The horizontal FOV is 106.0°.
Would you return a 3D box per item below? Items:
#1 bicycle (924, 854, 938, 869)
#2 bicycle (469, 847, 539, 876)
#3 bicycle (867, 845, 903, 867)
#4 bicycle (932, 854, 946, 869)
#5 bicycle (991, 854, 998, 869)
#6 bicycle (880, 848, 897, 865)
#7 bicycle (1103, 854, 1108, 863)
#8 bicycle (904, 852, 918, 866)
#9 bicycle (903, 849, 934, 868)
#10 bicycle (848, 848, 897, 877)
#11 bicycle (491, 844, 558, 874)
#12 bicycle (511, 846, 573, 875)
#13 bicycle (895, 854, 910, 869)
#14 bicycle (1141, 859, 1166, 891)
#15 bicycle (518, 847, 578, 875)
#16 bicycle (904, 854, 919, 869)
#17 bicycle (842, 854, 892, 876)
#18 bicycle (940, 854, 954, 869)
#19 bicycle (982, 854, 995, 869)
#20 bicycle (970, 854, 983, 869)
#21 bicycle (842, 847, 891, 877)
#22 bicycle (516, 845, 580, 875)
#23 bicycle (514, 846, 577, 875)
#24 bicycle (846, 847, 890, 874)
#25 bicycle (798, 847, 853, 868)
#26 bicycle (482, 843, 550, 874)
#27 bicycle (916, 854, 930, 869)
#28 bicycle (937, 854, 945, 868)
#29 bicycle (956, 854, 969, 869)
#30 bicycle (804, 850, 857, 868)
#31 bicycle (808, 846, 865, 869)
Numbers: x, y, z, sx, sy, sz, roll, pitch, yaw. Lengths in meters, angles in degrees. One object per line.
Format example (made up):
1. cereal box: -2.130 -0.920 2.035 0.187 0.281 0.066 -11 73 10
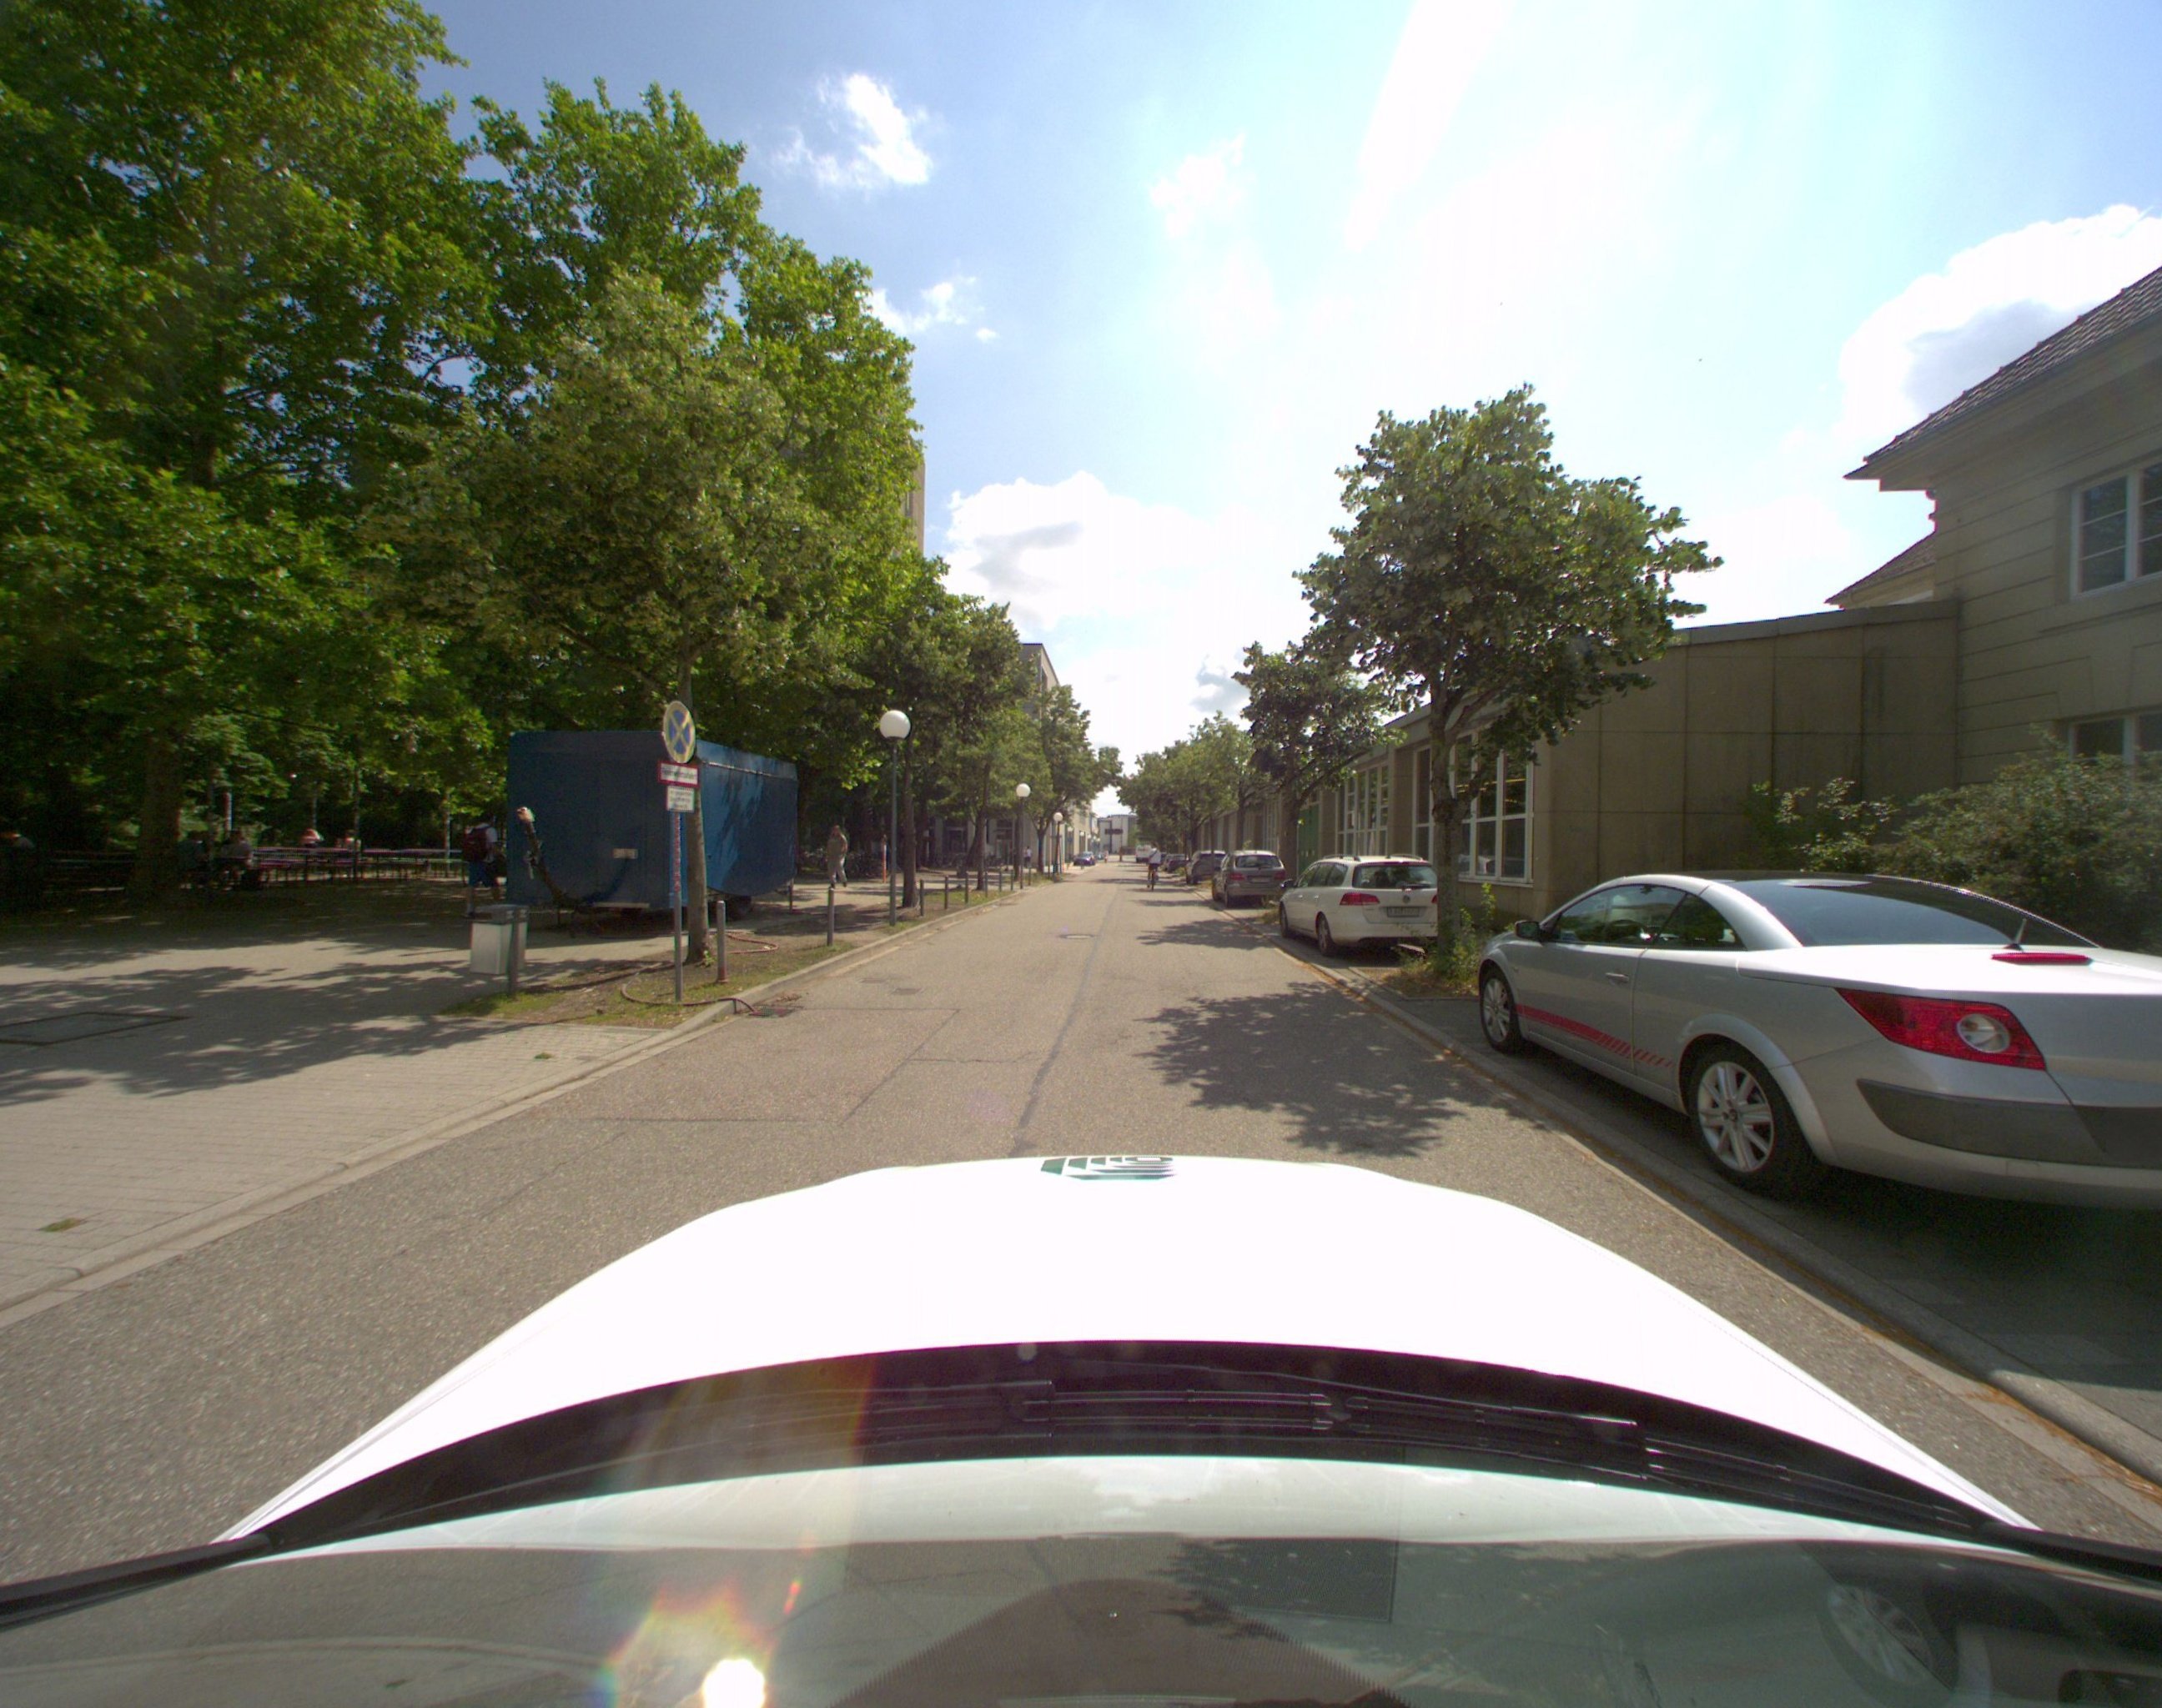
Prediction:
1. bicycle: -11.299 0.544 61.512 0.549 1.086 1.975 2 0 4
2. bicycle: -20.422 0.258 28.849 2.005 1.008 0.583 0 0 -6
3. bicycle: -13.168 0.161 54.783 2.297 1.450 0.601 1 0 -30
4. bicycle: -10.693 0.548 61.508 0.549 1.086 1.975 2 0 4
5. bicycle: -5.851 0.502 54.947 0.381 1.025 1.810 1 0 -8
6. bicycle: -14.458 0.158 61.297 0.523 1.253 2.385 0 0 5
7. bicycle: 3.180 0.597 105.660 0.682 1.130 1.889 0 0 2
8. bicycle: -12.350 0.357 59.092 0.473 1.032 1.852 1 0 4
9. bicycle: -11.177 0.306 55.898 2.026 1.254 0.582 0 0 -29
10. bicycle: -9.435 0.386 36.955 2.057 1.234 0.805 3 0 -14
11. bicycle: -20.899 0.196 30.609 2.005 1.119 0.583 0 0 -6
12. bicycle: -21.729 0.259 32.849 2.005 1.119 0.583 0 0 -6
13. bicycle: -13.492 0.529 61.517 0.549 1.086 1.975 2 0 4
14. bicycle: 2.864 0.810 32.426 0.878 1.199 2.752 1 0 3
15. bicycle: -22.000 0.283 33.630 2.005 1.119 0.583 0 0 -6
16. bicycle: -12.794 0.533 61.493 0.549 1.086 1.975 2 0 4
17. bicycle: -10.075 0.516 38.334 2.158 1.008 0.672 1 0 -27
18. bicycle: -10.126 0.553 61.544 0.549 1.086 1.975 2 0 4
19. bicycle: -6.939 0.566 61.227 0.549 1.086 1.975 2 0 4
20. bicycle: -7.873 0.567 61.469 0.549 1.086 1.975 2 0 4
21. bicycle: -9.459 0.356 36.018 2.057 1.234 0.805 2 0 -14
22. bicycle: -20.541 0.220 31.415 2.005 1.119 0.583 0 0 -6
23. bicycle: -21.115 0.238 32.132 2.005 1.119 0.583 0 0 -6
24. bicycle: -9.024 0.274 34.529 1.776 1.132 0.456 1 0 -15
25. bicycle: -14.831 0.215 47.357 2.897 1.178 0.872 1 0 -39
26. bicycle: -20.657 0.174 29.802 2.005 1.119 0.583 0 0 -6
27. bicycle: -11.940 0.545 61.672 0.549 1.086 1.975 2 0 4
28. bicycle: -9.789 0.478 56.982 0.475 0.965 1.652 1 0 -7
29. bicycle: -8.961 0.570 61.823 0.549 1.086 1.975 2 0 4
30. bicycle: -14.160 0.291 46.153 2.747 1.003 0.872 1 0 -39
31. bicycle: -13.514 0.202 45.097 2.922 1.220 0.872 1 0 -39
